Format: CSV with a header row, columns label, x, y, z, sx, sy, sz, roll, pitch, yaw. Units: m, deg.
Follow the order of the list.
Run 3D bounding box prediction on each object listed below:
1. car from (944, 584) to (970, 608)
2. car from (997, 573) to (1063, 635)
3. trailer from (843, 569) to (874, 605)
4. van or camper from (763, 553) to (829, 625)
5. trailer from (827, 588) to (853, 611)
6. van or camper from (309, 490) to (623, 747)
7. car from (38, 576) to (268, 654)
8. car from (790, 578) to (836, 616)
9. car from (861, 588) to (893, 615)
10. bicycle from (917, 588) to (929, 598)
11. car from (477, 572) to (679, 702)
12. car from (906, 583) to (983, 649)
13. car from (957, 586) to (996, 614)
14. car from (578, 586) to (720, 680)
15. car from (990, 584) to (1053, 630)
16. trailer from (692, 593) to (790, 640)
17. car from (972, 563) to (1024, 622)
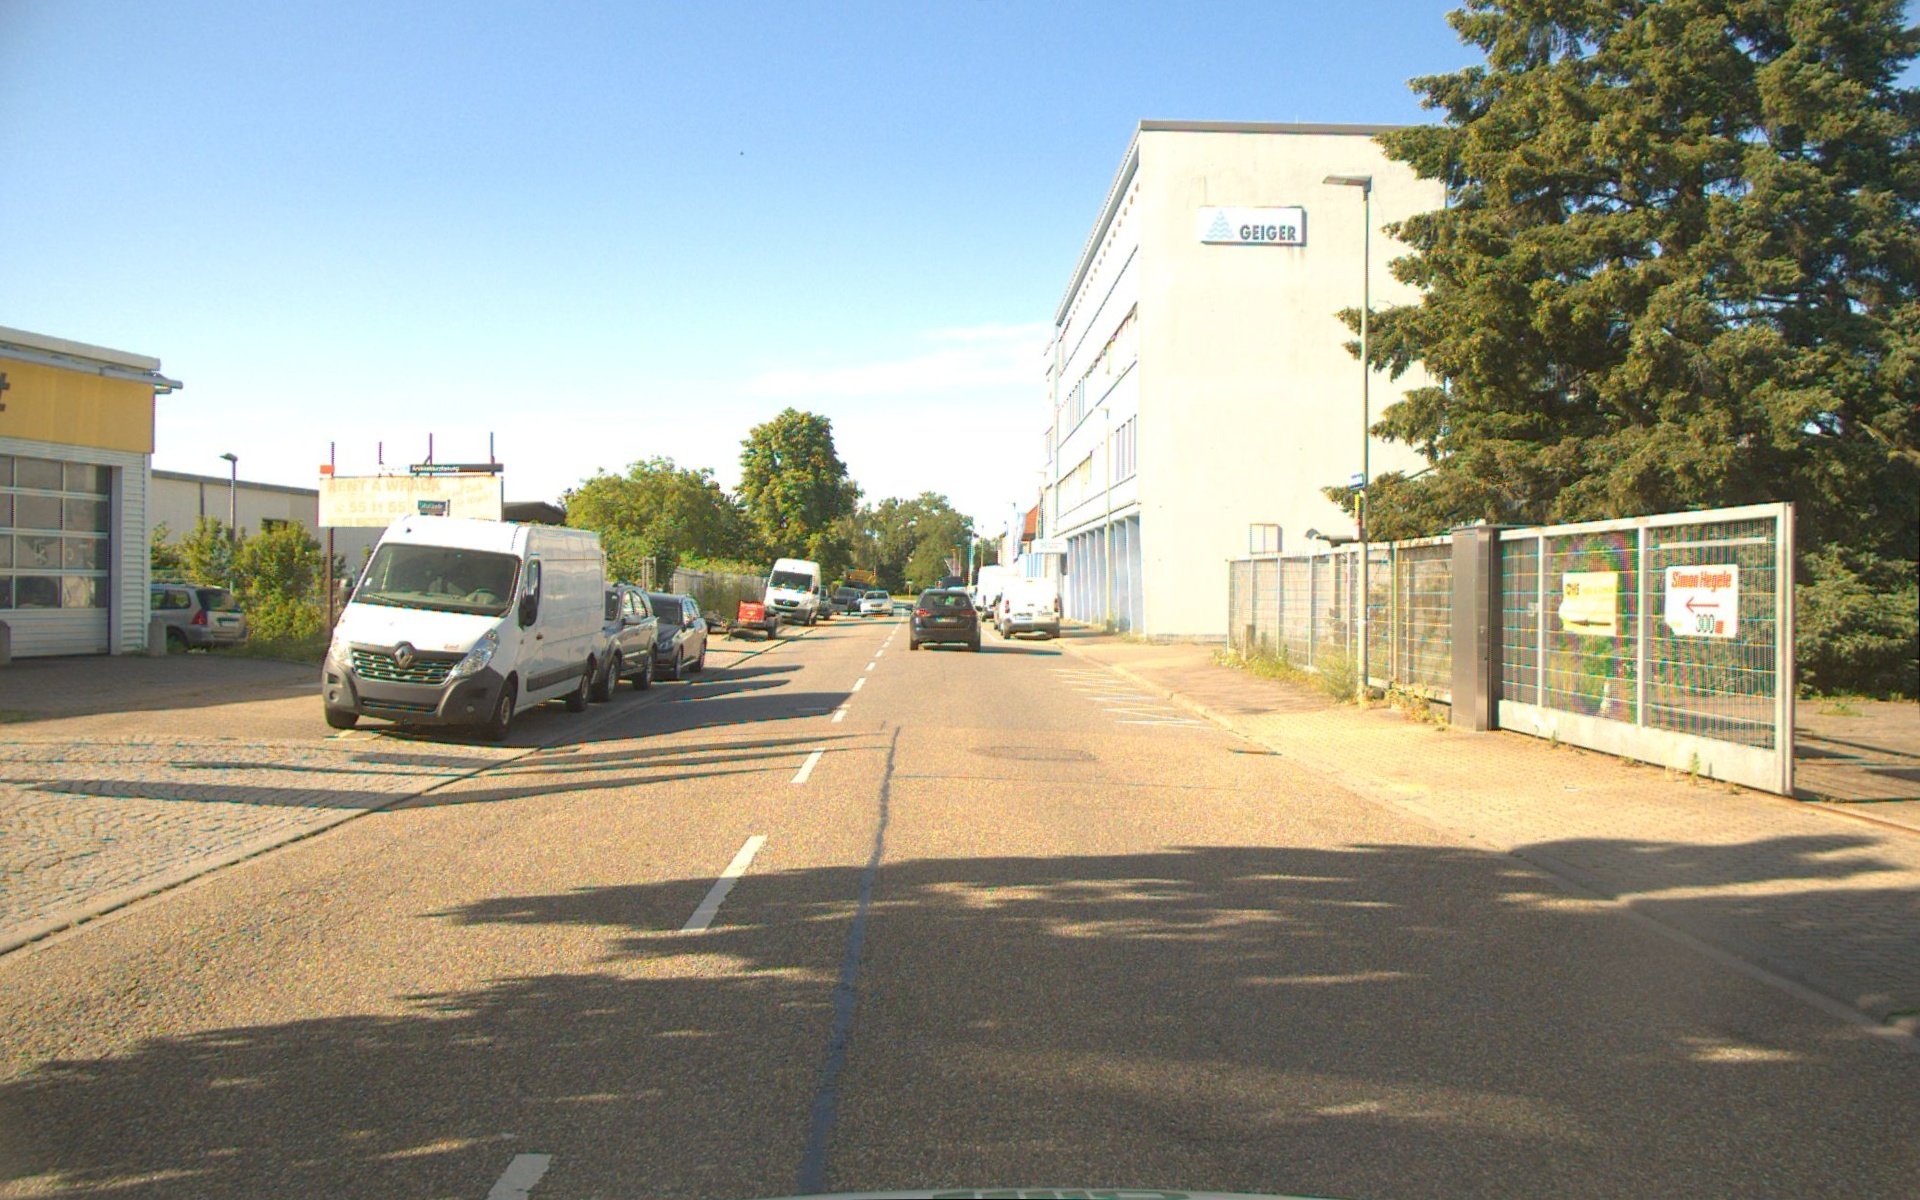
label,x,y,z,sx,sy,sz,roll,pitch,yaw
car,-0.268,-0.325,134.386,1.848,1.829,5.101,2,0,-3
car,2.187,0.095,52.692,1.850,1.864,5.090,1,0,0
trailer,-9.963,-1.241,163.079,2.931,3.503,8.156,0,0,-3
van or camper,-6.847,-0.477,69.592,1.926,2.731,5.947,5,0,0
trailer,-7.522,-0.029,104.066,1.447,1.378,3.077,2,0,-2
van or camper,-5.915,0.162,20.826,2.029,2.593,6.402,4,1,-2
car,-17.320,0.305,35.586,4.069,1.601,1.918,0,0,8
car,-7.322,-0.178,82.839,1.990,1.723,5.104,4,0,-3
car,-4.674,0.073,93.401,1.711,1.473,4.359,0,0,-2
bicycle,-4.559,-0.869,203.850,0.792,1.290,2.245,2,0,-20
car,-5.950,0.515,26.379,1.953,1.768,4.576,4,1,1
car,-0.393,0.366,41.155,1.809,1.557,3.999,0,0,-1
car,0.876,-0.012,90.063,1.856,1.430,5.122,2,0,-2
car,-5.851,0.556,31.665,1.763,1.536,5.001,4,0,-1
car,2.201,0.230,60.405,1.851,1.588,5.088,1,0,-3
trailer,-6.662,0.473,50.961,2.328,1.098,6.243,4,1,-2
car,1.762,-0.424,78.389,1.954,2.643,6.048,-2,1,-3
